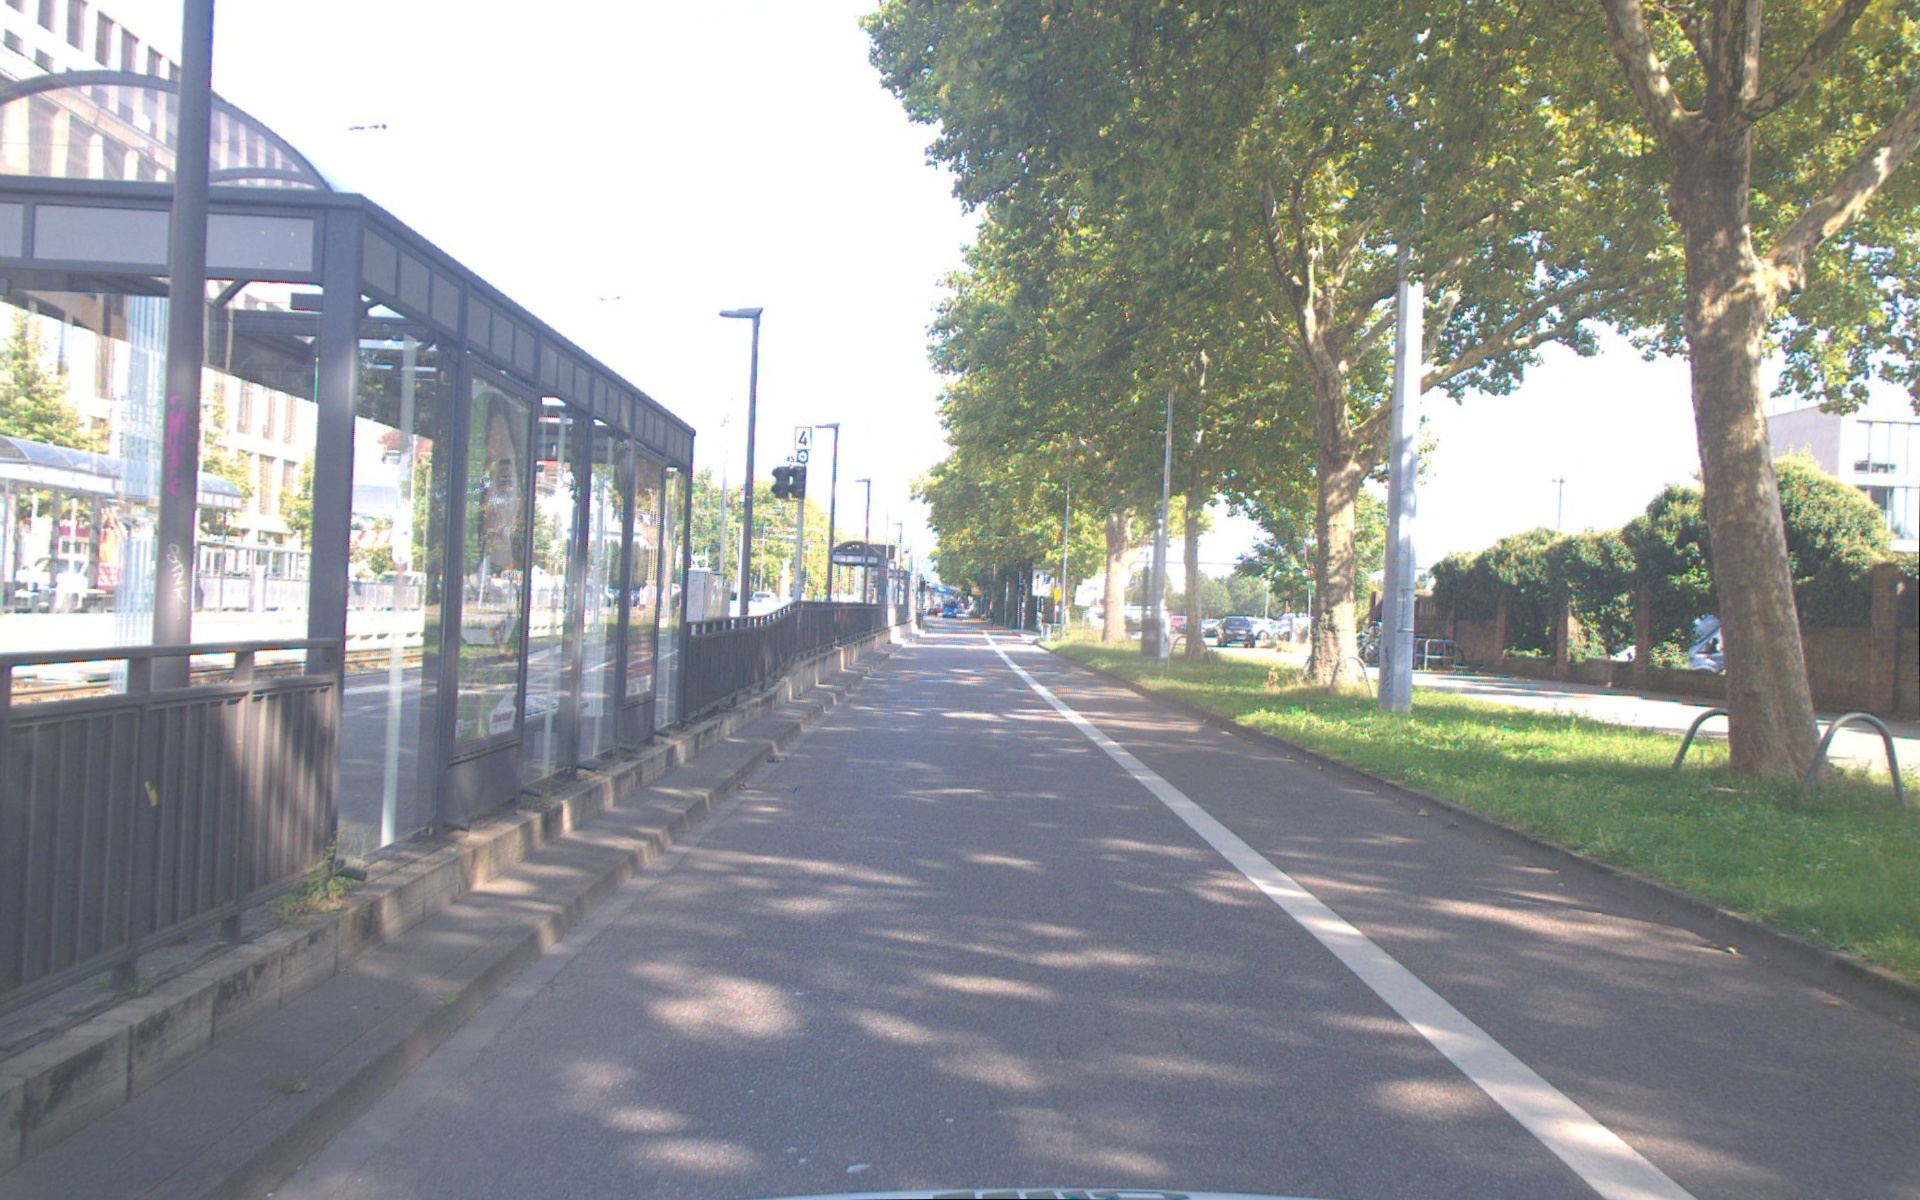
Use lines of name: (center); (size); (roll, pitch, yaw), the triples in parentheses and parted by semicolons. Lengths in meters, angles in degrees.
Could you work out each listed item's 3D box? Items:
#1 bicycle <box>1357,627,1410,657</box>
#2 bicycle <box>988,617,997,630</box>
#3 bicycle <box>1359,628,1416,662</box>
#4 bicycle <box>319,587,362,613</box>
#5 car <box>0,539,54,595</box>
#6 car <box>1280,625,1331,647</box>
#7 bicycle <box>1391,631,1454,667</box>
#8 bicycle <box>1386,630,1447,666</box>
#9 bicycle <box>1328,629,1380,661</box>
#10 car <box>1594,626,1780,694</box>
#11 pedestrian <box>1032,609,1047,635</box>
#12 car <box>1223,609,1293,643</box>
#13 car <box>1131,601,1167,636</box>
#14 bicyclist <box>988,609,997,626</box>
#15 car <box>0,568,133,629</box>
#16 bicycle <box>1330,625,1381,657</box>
bicycle: (14.065, 1.389, 54.951); (1.622, 0.986, 0.506); (0, -1, 2)
bicycle: (2.874, 2.082, 147.538); (0.700, 1.127, 2.508); (3, -1, 0)
bicycle: (13.057, 1.369, 50.494); (1.621, 0.986, 0.506); (0, -1, 5)
bicycle: (-16.970, 0.010, 45.350); (0.467, 0.674, 1.614); (2, 0, 4)
car: (-24.889, -0.871, 41.864); (1.609, 1.401, 4.222); (2, 0, -1)
car: (26.634, 2.783, 127.515); (3.695, 1.471, 1.528); (3, -1, 6)
bicycle: (13.067, 1.391, 46.736); (1.622, 0.986, 0.506); (0, -1, 1)
bicycle: (13.098, 1.371, 47.491); (1.621, 0.986, 0.506); (0, -1, 5)
bicycle: (12.617, 1.432, 53.054); (0.502, 0.986, 1.636); (1, -1, -41)
car: (20.785, 1.699, 47.422); (4.426, 1.704, 1.978); (2, 0, 3)
pedestrian: (5.160, 1.423, 107.315); (0.614, 1.645, 0.841); (2, 0, 37)
car: (16.281, 1.429, 90.176); (1.698, 1.708, 4.219); (2, -1, 44)
car: (11.917, 1.154, 104.484); (1.687, 2.084, 4.461); (2, 0, 0)
bicyclist: (2.902, 1.553, 147.730); (0.691, 1.486, 1.009); (3, -1, 0)
car: (-25.113, -0.049, 46.460); (1.609, 1.577, 4.222); (2, 0, -1)
bicycle: (12.848, 1.324, 53.763); (0.502, 0.986, 1.636); (1, -1, -41)
